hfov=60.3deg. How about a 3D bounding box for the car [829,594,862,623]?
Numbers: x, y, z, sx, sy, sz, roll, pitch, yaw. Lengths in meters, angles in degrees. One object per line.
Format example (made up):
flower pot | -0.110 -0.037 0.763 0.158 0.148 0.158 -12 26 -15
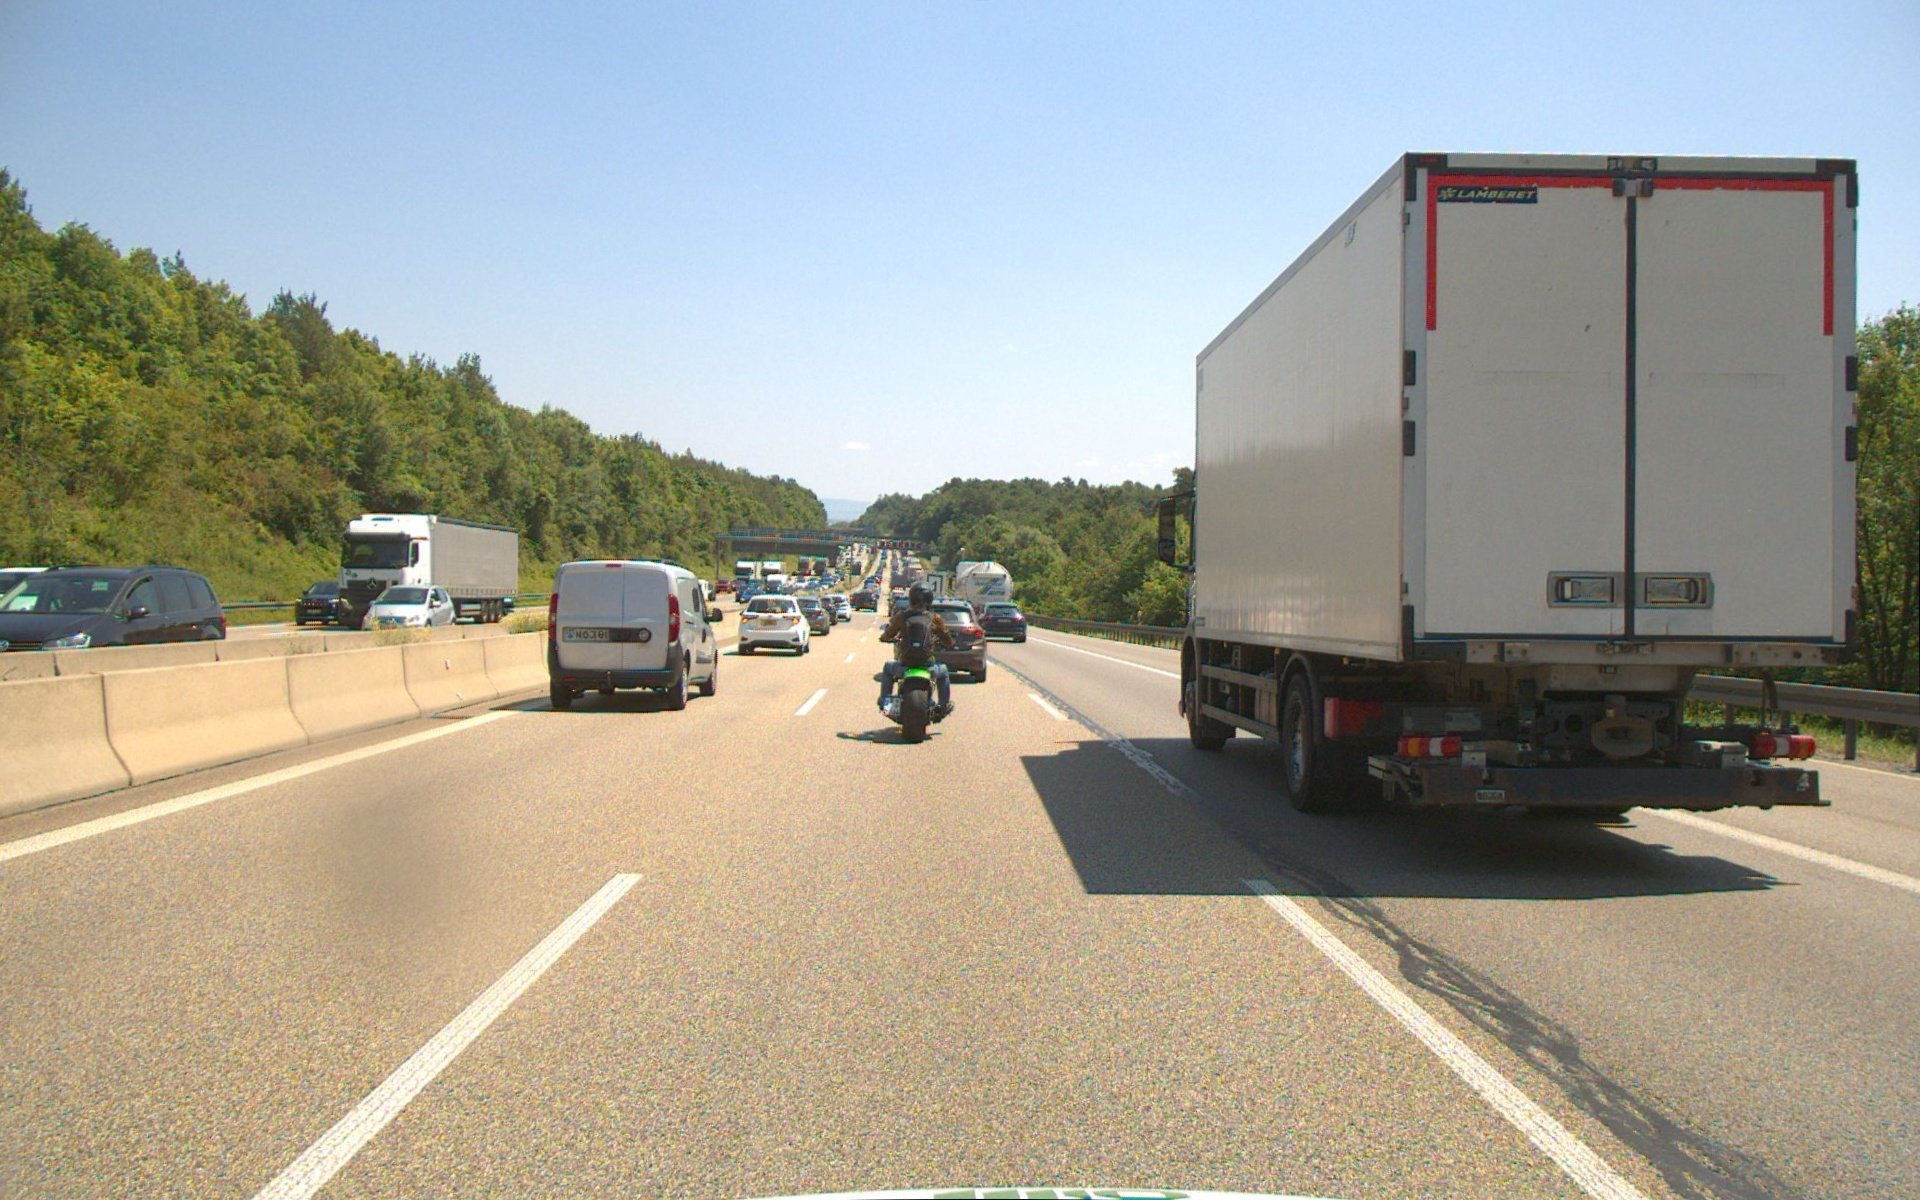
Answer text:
car | -6.500 0.480 94.394 1.665 1.504 3.998 3 0 -2

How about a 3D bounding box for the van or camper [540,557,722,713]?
van or camper | -4.417 0.464 22.775 1.760 1.925 4.158 1 -1 -2

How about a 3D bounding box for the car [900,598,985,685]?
car | -0.309 0.749 31.699 1.501 1.536 4.000 1 0 0

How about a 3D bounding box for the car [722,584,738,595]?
car | -31.551 -1.457 227.064 1.727 1.394 4.499 2 0 -2

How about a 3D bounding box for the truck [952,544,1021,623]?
truck | 1.223 -0.753 83.697 2.928 3.736 9.282 1 -1 -2

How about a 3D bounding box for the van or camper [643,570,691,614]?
van or camper | -19.575 -0.469 110.619 2.224 2.783 6.802 1 -1 -3

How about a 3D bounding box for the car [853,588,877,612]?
car | -7.963 0.000 138.800 1.842 1.892 3.998 3 0 -2

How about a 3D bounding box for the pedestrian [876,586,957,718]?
pedestrian | -0.470 0.550 17.955 0.832 1.385 0.961 1 0 -1

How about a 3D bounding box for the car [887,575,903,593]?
car | -10.197 -2.469 259.720 2.454 2.632 5.014 3 0 -2

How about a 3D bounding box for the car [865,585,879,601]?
car | -11.965 -0.923 224.979 1.891 2.049 3.998 1 -1 -2

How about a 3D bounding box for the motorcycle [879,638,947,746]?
motorcycle | -0.497 0.962 17.934 0.677 1.033 2.121 1 0 -1

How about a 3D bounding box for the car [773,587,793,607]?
car | -18.088 -0.305 168.765 1.854 1.982 3.996 1 -1 -4

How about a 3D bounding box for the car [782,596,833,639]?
car | -5.790 0.642 63.292 1.665 1.504 3.998 3 0 -2

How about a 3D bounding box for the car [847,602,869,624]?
car | -9.515 1.237 154.504 1.953 2.049 3.998 1 -1 -2

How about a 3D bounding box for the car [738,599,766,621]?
car | -15.448 0.737 123.151 1.676 1.565 4.126 1 0 -2

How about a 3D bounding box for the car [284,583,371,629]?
car | -23.964 0.233 62.835 1.773 1.670 4.097 1 0 -2

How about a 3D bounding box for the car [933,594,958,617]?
car | -1.154 0.412 127.384 1.751 1.582 3.801 3 0 -2

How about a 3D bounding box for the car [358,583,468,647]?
car | -15.386 0.415 46.711 1.790 1.699 4.104 1 -1 -1

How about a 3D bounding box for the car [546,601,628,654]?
car | -12.376 0.892 55.180 1.773 1.670 4.601 1 0 -2

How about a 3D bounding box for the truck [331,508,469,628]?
truck | -19.985 -1.042 59.522 2.757 3.977 7.310 1 -1 -3

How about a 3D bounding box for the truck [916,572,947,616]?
truck | -3.265 -0.730 185.975 2.973 4.621 9.978 4 0 -2

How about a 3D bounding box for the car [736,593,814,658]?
car | -4.761 0.620 42.949 1.665 1.504 3.998 3 0 -2

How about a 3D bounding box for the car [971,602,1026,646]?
car | 1.445 0.883 63.489 1.792 1.496 3.998 4 0 -2

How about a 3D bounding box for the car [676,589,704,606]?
car | -22.816 -0.197 139.800 1.765 1.370 4.721 2 0 -2

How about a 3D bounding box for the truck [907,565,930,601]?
truck | -6.500 -2.605 257.184 2.973 5.228 9.978 4 0 -2

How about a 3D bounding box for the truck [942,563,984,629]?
truck | 0.142 -0.216 92.755 1.954 3.584 4.746 1 -1 -5

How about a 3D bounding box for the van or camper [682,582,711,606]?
van or camper | -23.063 -0.531 144.923 2.034 2.011 3.703 1 0 -2

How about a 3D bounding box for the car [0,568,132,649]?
car | -22.887 0.214 41.326 1.883 1.900 5.300 1 -1 -3

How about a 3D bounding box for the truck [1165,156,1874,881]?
truck | 3.666 -0.435 13.919 2.633 3.944 9.779 0 0 0

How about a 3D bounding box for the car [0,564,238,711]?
car | -11.395 0.438 21.914 1.650 1.728 4.657 1 0 -1

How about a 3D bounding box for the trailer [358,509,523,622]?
trailer | -20.307 -1.159 65.807 2.756 3.977 13.818 1 -1 -3

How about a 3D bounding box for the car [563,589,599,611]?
car | -26.051 0.009 113.786 1.545 1.487 4.387 1 0 -2

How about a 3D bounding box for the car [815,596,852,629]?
car | -6.373 0.609 83.470 1.665 1.504 3.998 3 0 -2
